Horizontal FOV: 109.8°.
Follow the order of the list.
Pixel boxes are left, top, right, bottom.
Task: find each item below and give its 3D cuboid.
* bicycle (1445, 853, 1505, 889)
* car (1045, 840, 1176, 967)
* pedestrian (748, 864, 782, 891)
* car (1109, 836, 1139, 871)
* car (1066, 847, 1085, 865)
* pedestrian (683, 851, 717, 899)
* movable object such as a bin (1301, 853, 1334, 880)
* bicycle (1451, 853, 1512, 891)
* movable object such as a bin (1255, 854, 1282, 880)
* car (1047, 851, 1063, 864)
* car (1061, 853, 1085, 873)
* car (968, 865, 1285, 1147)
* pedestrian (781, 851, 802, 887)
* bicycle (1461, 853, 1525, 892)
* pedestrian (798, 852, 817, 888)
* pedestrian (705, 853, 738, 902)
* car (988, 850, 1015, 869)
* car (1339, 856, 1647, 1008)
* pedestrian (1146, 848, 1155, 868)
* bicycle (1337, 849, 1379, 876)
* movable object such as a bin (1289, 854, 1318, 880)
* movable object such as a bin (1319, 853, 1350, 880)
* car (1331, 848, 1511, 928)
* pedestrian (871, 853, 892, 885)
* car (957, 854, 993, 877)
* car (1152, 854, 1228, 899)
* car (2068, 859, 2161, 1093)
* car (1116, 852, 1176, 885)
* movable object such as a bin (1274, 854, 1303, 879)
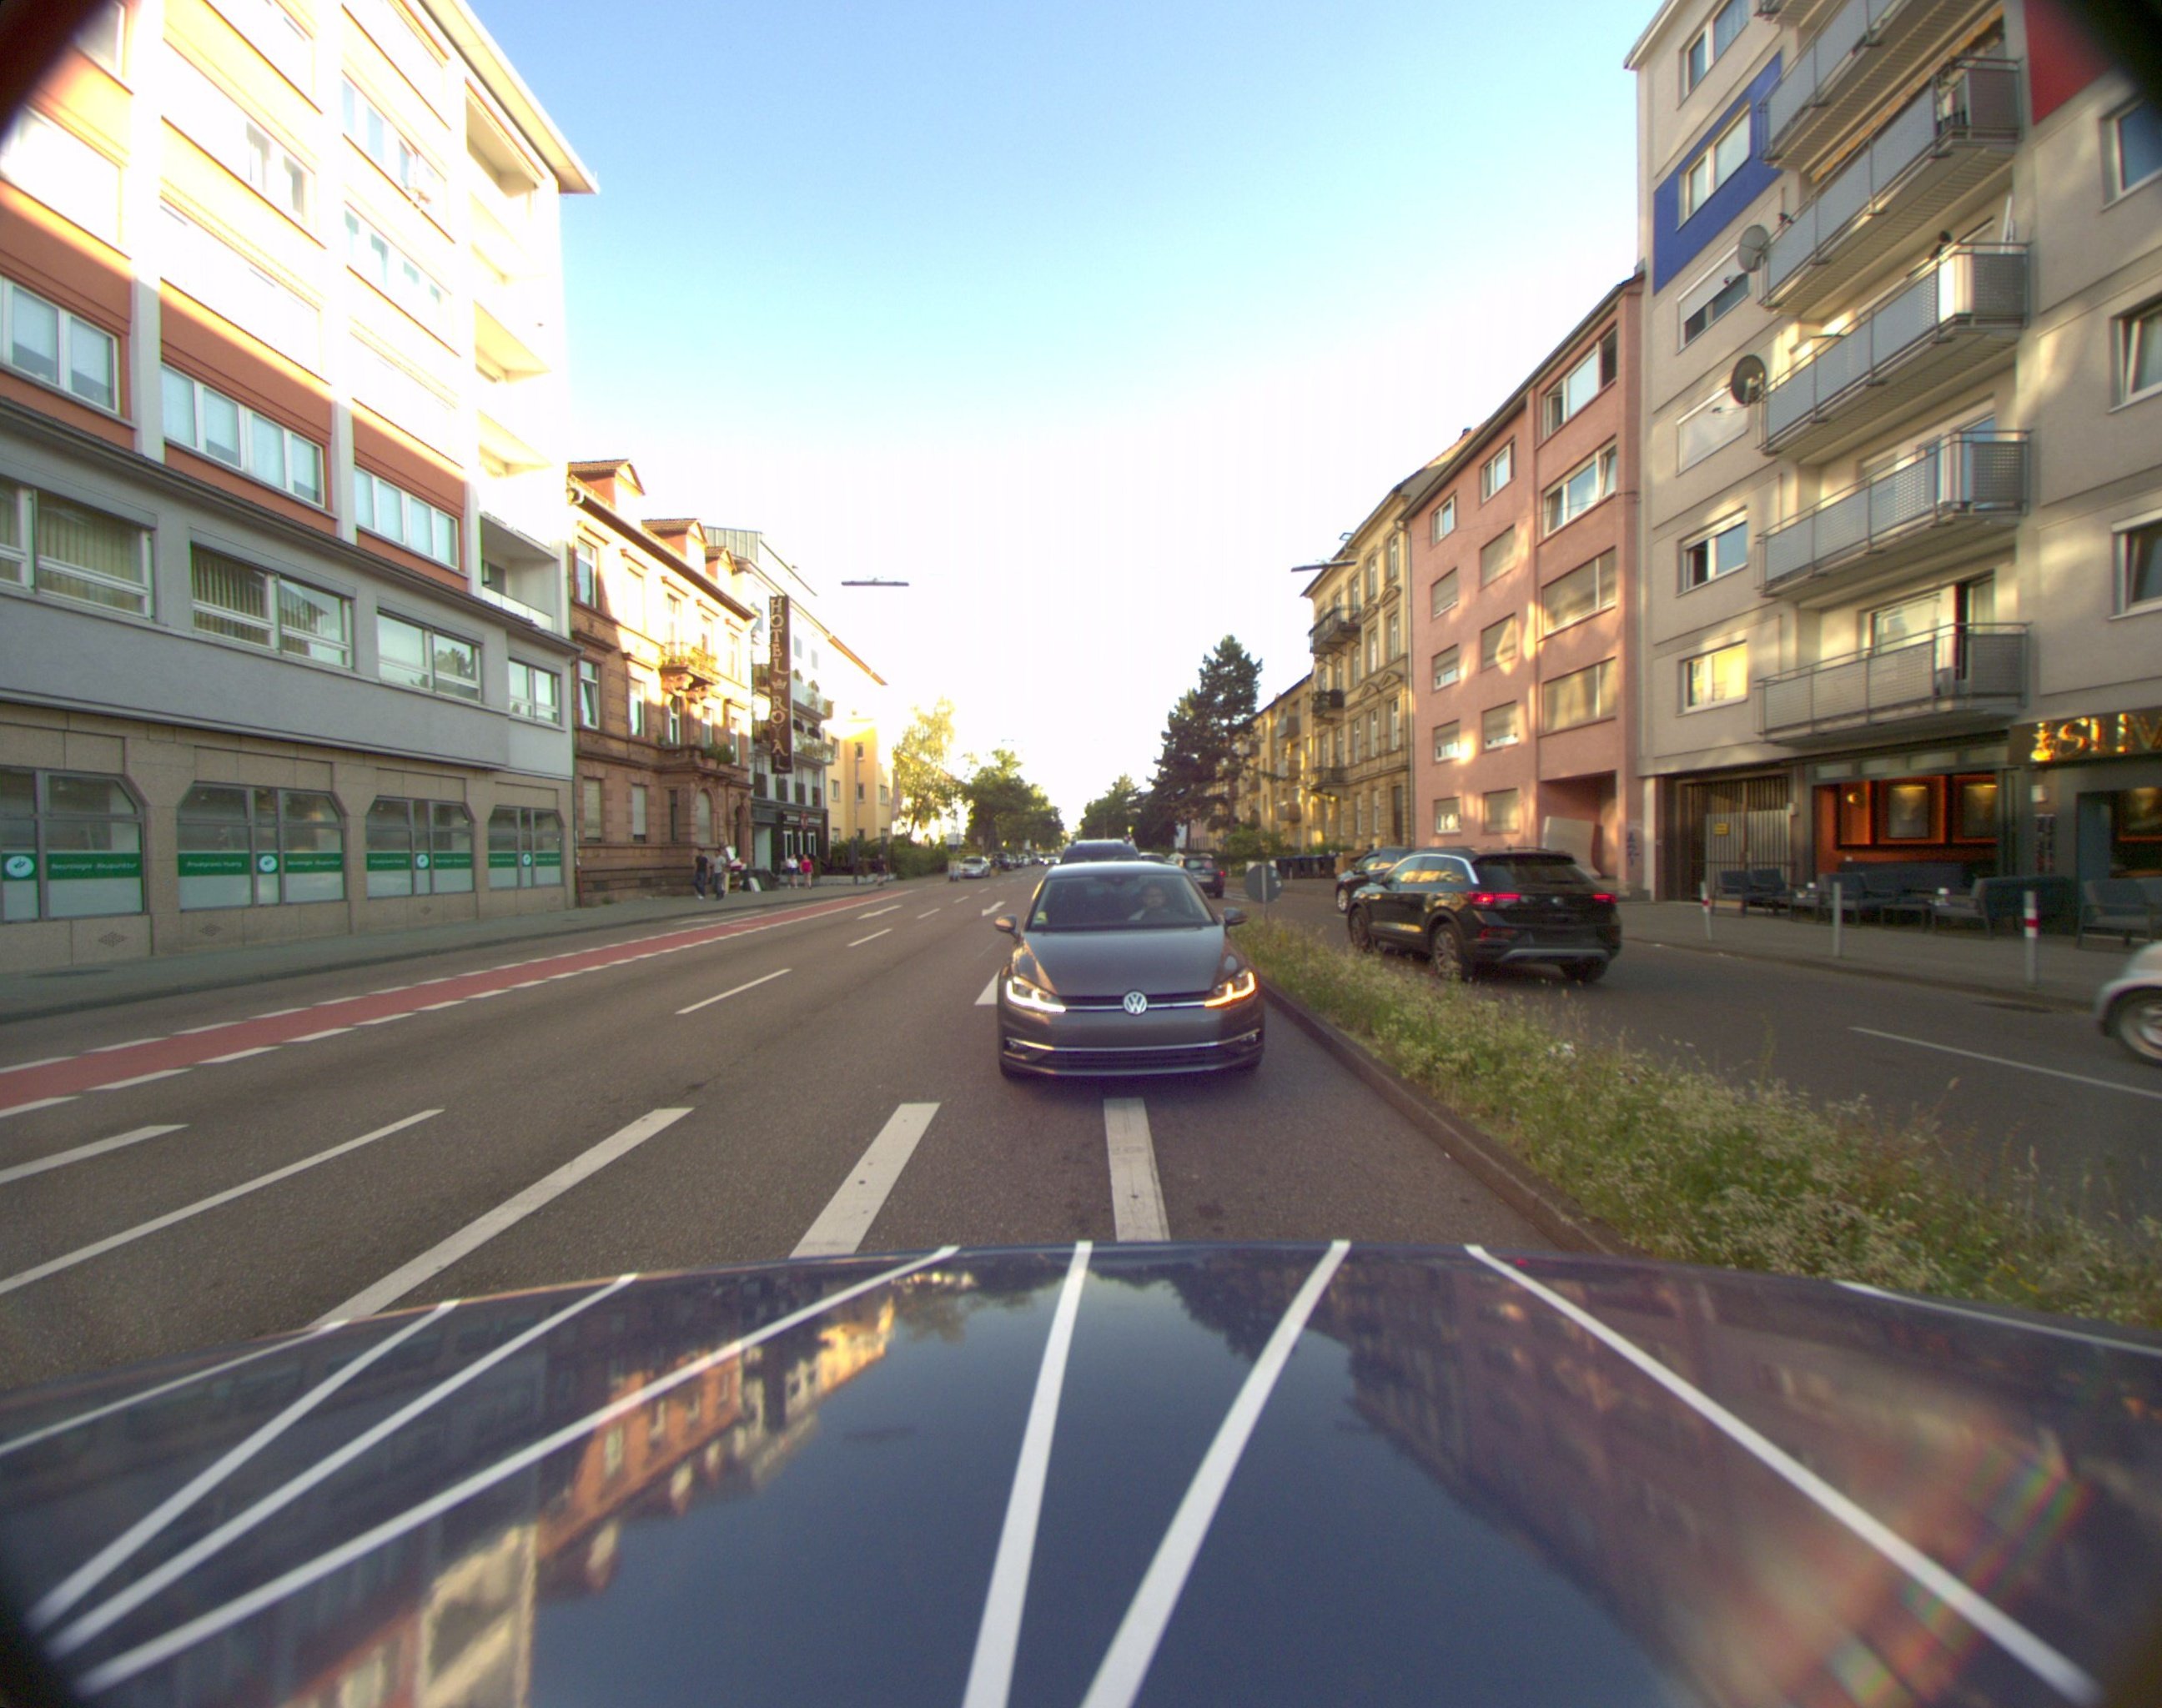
[{"bbox_3d":[13.242,0.572,25.562,1.780,1.184,0.473,-1,1,-2],"label":"bicycle"},{"bbox_3d":[0.426,0.708,13.328,1.895,1.843,4.466,0,1,0],"label":"car"},{"bbox_3d":[-13.726,1.000,33.021,1.100,1.129,0.924,-1,1,-2],"label":"pedestrian"},{"bbox_3d":[3.414,-0.075,61.359,2.136,2.740,4.465,0,1,0],"label":"car"},{"bbox_3d":[-0.576,0.180,77.445,1.895,1.843,4.700,0,1,-1],"label":"car"},{"bbox_3d":[-13.777,0.745,27.525,0.668,1.716,1.011,-1,1,1],"label":"pedestrian"},{"bbox_3d":[11.244,0.595,36.182,1.295,1.225,0.926,-2,1,-40],"label":"movable object such as a bin"},{"bbox_3d":[13.162,0.582,24.983,1.780,1.184,0.473,-1,1,-2],"label":"bicycle"},{"bbox_3d":[9.460,0.642,38.278,0.847,1.225,1.196,0,1,42],"label":"movable object such as a bin"},{"bbox_3d":[-3.199,0.400,93.930,1.907,1.532,3.999,-1,1,0],"label":"car"},{"bbox_3d":[-0.630,0.679,59.180,1.596,1.533,3.402,0,1,-5],"label":"car"},{"bbox_3d":[0.292,0.909,6.498,1.770,1.450,4.269,-2,1,1],"label":"car"},{"bbox_3d":[-13.257,0.698,34.805,0.788,1.579,1.009,3,1,-22],"label":"pedestrian"},{"bbox_3d":[13.140,0.584,24.250,1.780,1.184,0.473,-1,1,-2],"label":"bicycle"},{"bbox_3d":[-12.628,0.730,35.117,0.740,1.579,1.009,3,1,-21],"label":"pedestrian"},{"bbox_3d":[-13.001,0.829,27.464,0.668,1.716,1.011,-1,1,0],"label":"pedestrian"},{"bbox_3d":[-7.161,0.464,69.006,1.947,1.615,4.193,-1,0,0],"label":"car"},{"bbox_3d":[4.909,0.807,9.815,1.680,1.535,4.101,0,0,-1],"label":"car"},{"bbox_3d":[5.360,0.304,58.478,0.577,1.591,0.481,-1,1,1],"label":"pedestrian"},{"bbox_3d":[12.733,0.376,34.951,1.780,1.184,0.473,-1,1,-2],"label":"bicycle"},{"bbox_3d":[10.852,0.602,37.077,1.196,1.225,0.847,-2,1,-40],"label":"movable object such as a bin"},{"bbox_3d":[11.817,0.583,35.437,1.196,1.225,0.847,-2,1,-40],"label":"movable object such as a bin"},{"bbox_3d":[7.642,0.695,17.558,1.725,1.619,4.098,0,0,-11],"label":"car"},{"bbox_3d":[-10.234,0.784,39.040,0.738,1.593,1.011,2,1,4],"label":"pedestrian"},{"bbox_3d":[-7.378,0.761,53.213,1.905,1.508,4.074,-1,0,1],"label":"car"},{"bbox_3d":[3.697,0.721,26.398,1.597,1.462,3.982,0,0,-7],"label":"car"},{"bbox_3d":[8.099,0.833,4.234,1.539,1.583,2.808,0,0,0],"label":"car"},{"bbox_3d":[3.024,0.640,36.199,1.758,1.479,4.244,0,0,-11],"label":"car"},{"bbox_3d":[10.324,0.614,37.782,1.196,1.225,0.847,-2,1,-40],"label":"movable object such as a bin"}]
